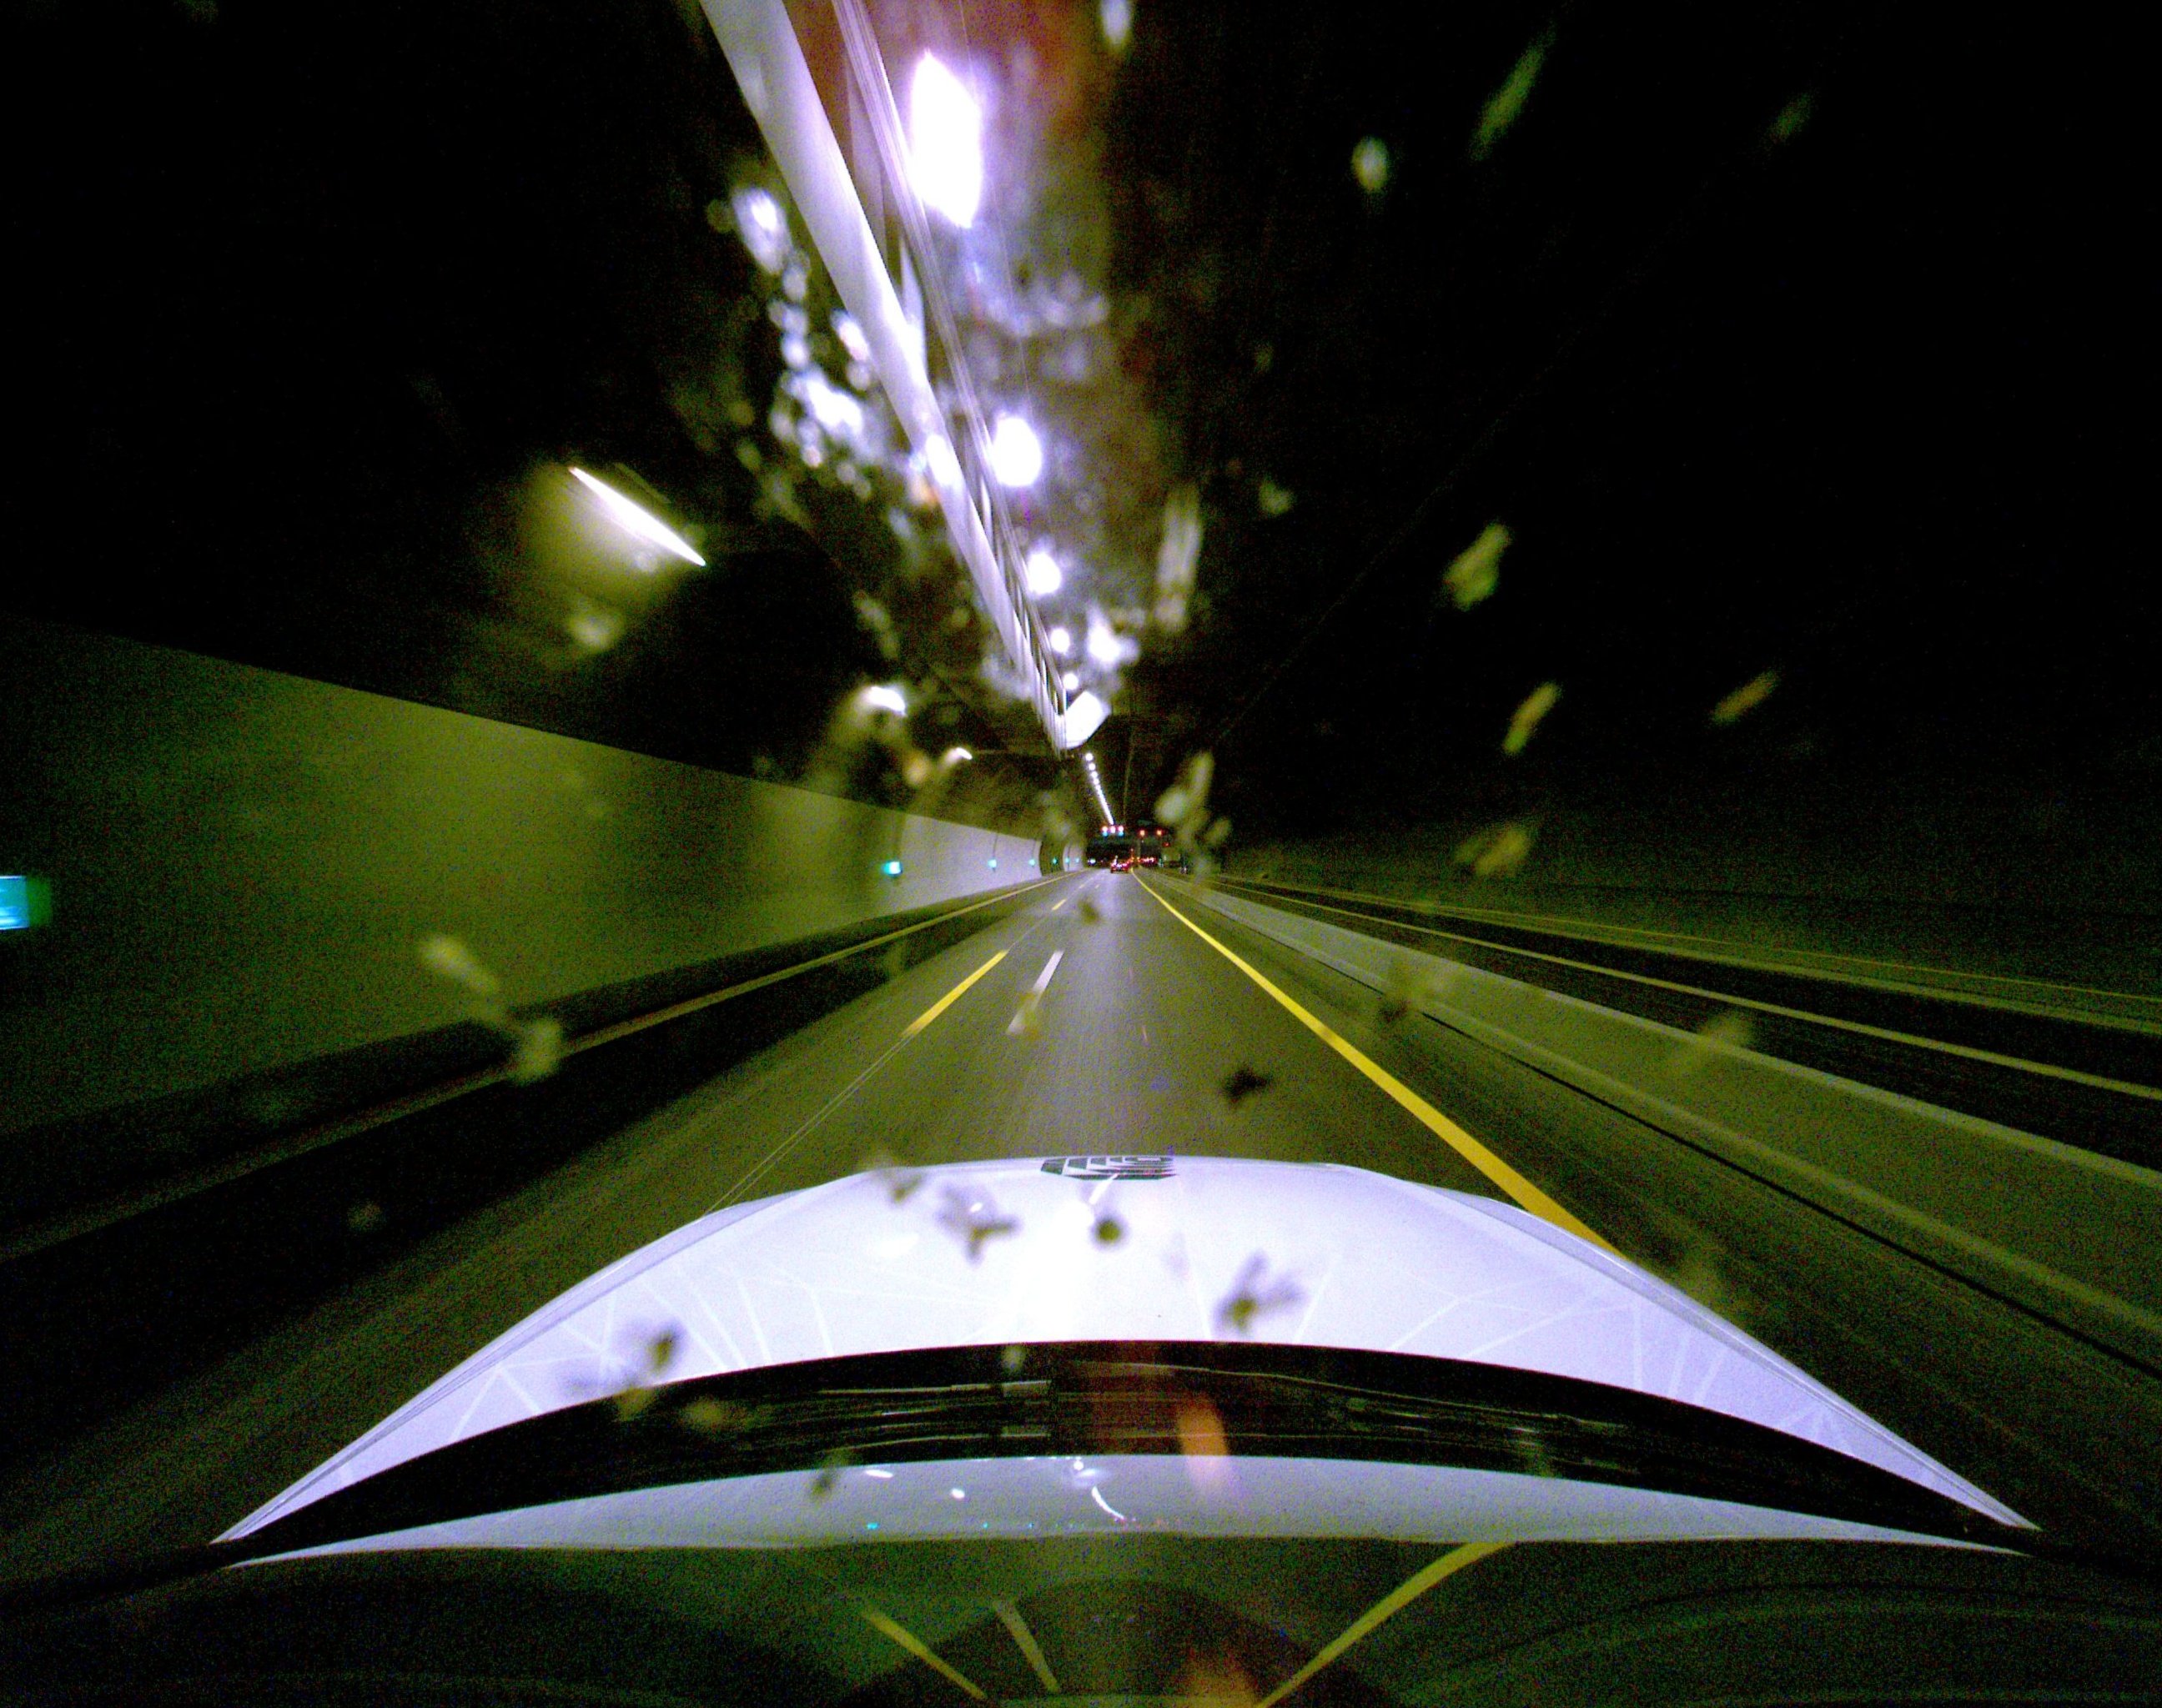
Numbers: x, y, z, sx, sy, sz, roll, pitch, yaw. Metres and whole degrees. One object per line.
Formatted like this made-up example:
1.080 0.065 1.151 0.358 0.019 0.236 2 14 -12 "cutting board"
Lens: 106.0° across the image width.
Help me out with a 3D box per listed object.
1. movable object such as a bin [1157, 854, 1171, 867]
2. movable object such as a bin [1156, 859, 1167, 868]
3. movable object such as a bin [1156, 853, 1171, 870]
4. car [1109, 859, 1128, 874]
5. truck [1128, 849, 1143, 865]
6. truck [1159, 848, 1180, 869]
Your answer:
17.627 1.481 173.746 2.725 2.754 7.057 0 -1 4 "movable object such as a bin"
15.947 1.873 161.259 1.970 1.816 3.839 0 -1 3 "movable object such as a bin"
13.828 1.237 137.060 2.228 2.794 7.238 0 -1 3 "movable object such as a bin"
3.993 1.339 87.639 1.881 1.607 3.999 0 -1 0 "car"
16.627 0.948 249.562 4.525 4.987 9.610 0 -1 4 "truck"
13.942 0.772 128.308 2.880 3.272 8.407 0 -1 3 "truck"
